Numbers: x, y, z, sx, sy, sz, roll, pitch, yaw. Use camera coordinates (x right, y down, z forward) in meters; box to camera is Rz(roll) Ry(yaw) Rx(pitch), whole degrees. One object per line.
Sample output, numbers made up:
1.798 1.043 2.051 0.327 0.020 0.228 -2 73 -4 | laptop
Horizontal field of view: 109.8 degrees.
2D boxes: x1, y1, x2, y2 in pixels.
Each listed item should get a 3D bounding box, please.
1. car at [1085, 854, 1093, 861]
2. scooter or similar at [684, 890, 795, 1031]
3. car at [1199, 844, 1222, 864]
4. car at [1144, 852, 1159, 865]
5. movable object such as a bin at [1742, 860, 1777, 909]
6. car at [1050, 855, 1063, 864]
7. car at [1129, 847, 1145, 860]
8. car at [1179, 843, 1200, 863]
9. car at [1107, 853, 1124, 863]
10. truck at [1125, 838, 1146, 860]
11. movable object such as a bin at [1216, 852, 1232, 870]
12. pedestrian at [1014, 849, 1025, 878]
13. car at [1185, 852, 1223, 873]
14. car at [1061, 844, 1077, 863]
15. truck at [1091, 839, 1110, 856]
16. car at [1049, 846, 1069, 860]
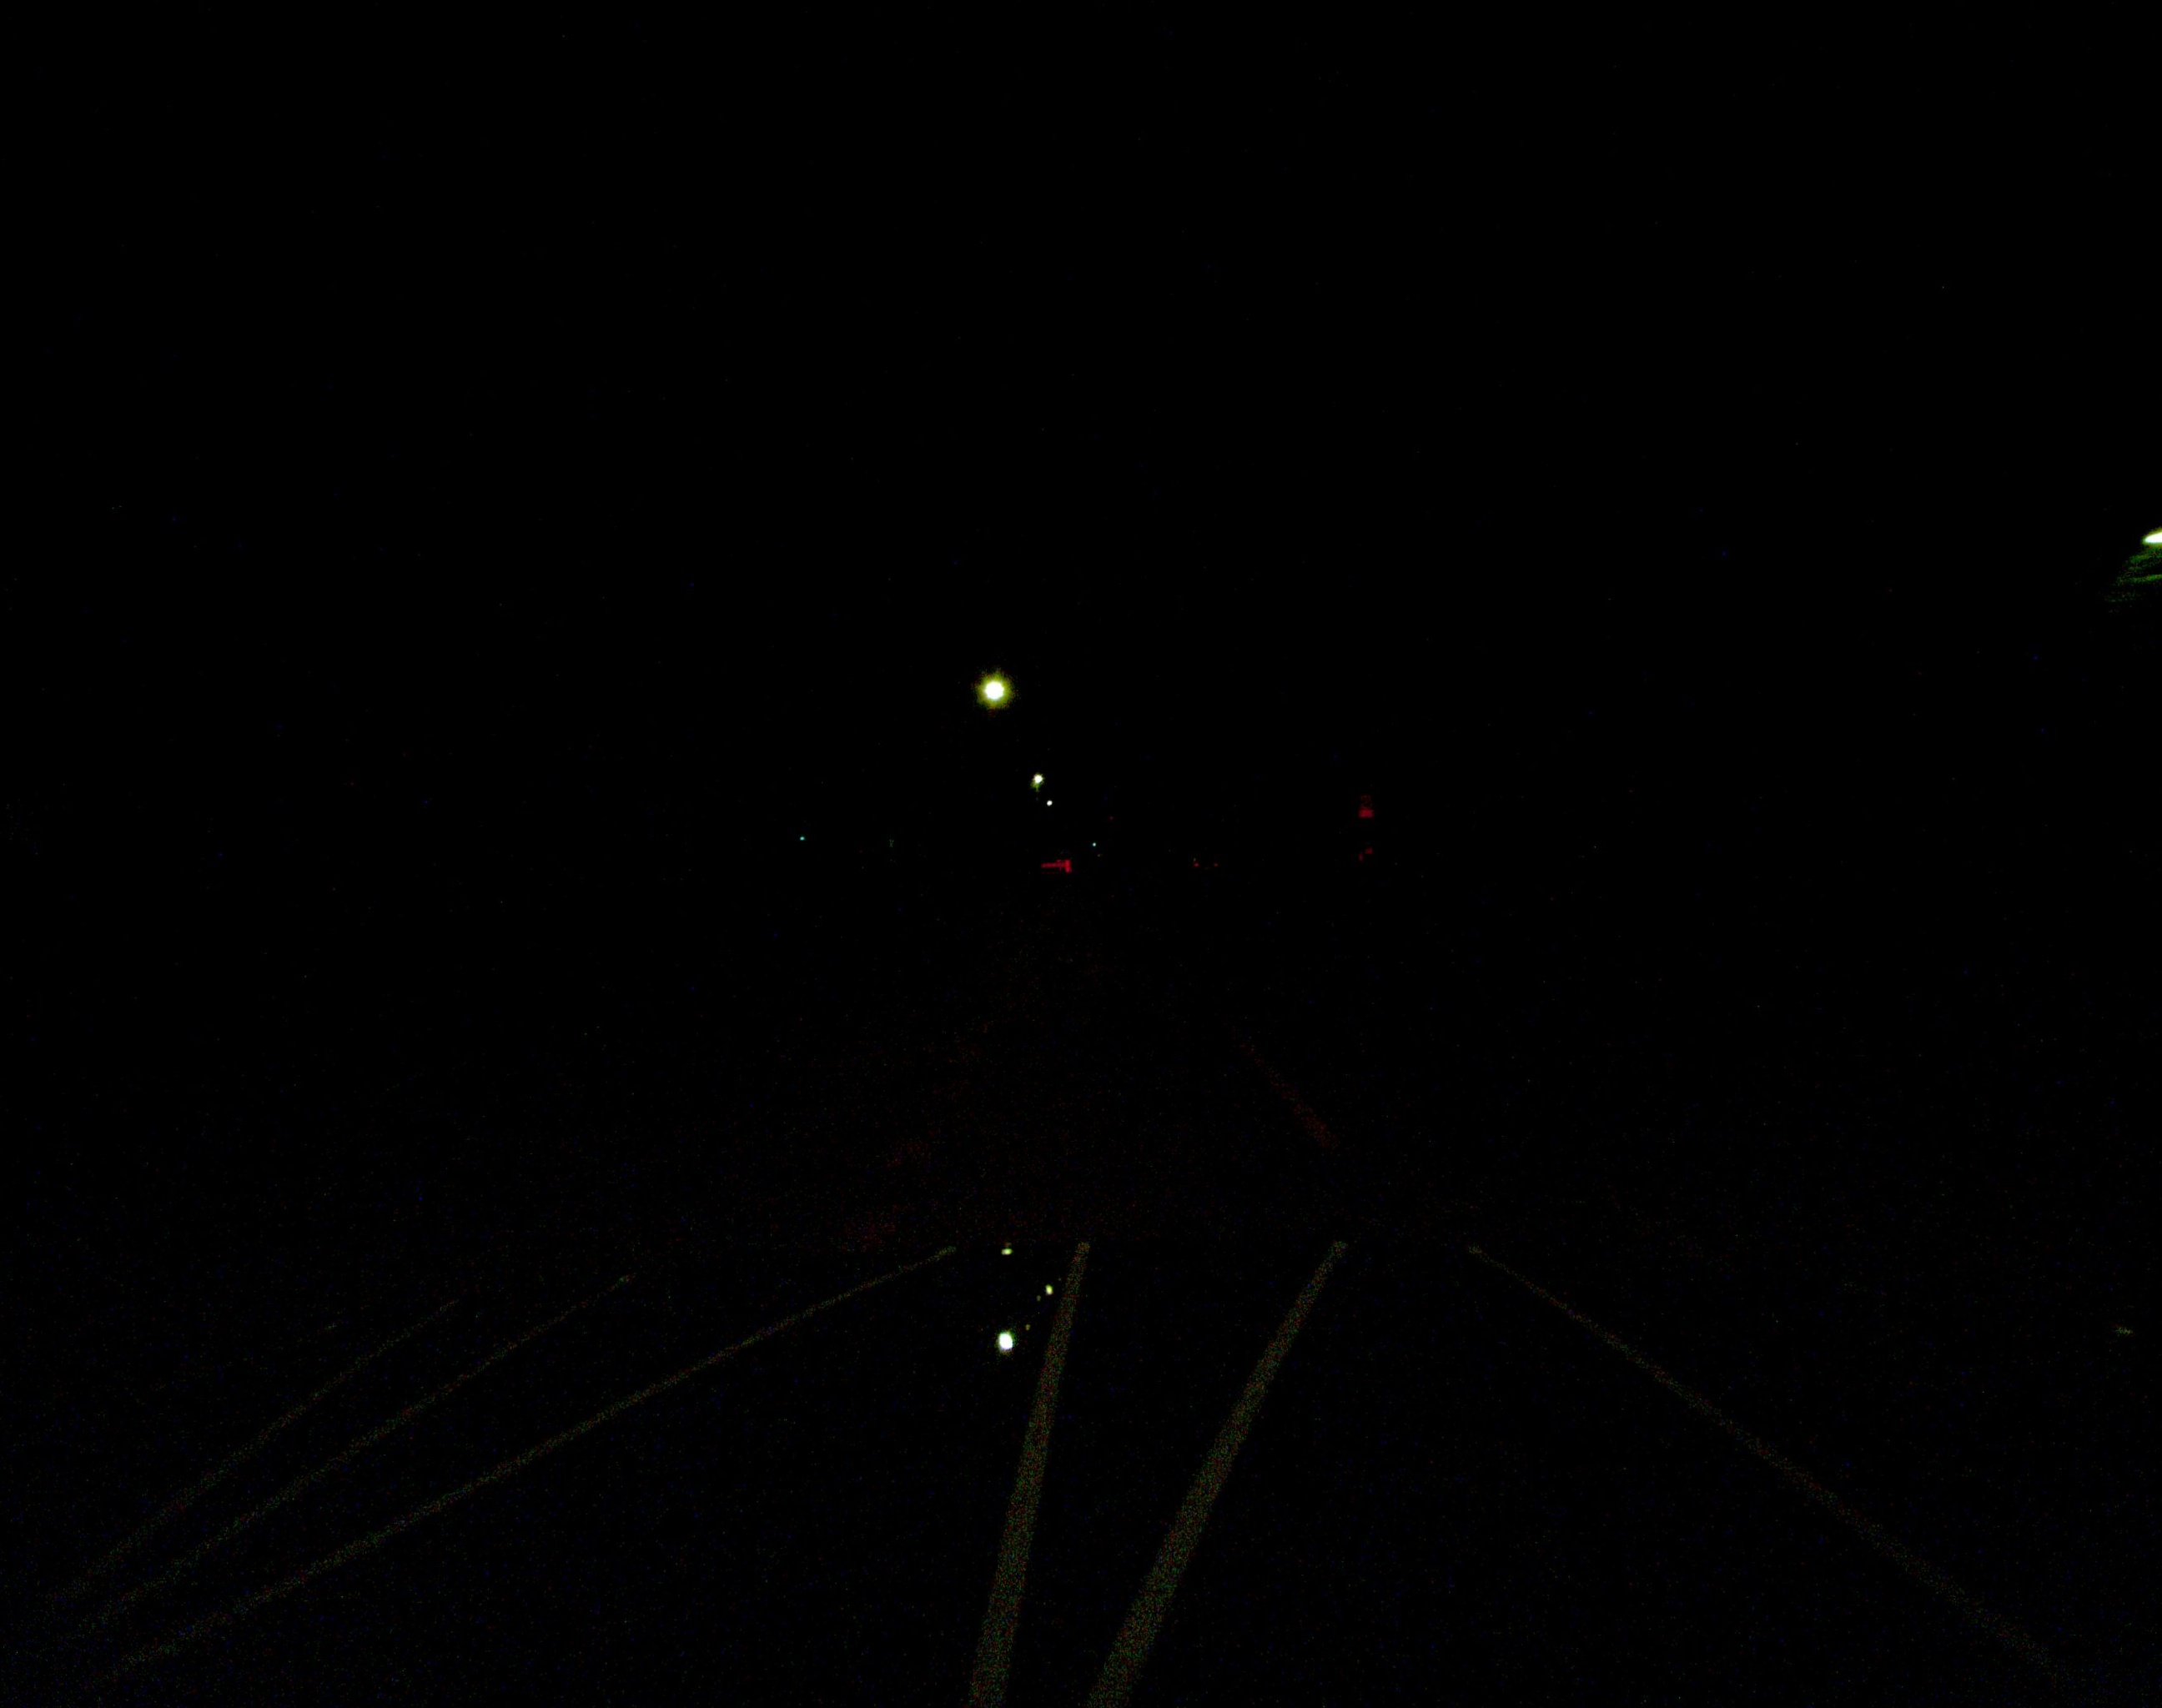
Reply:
2.023 0.898 188.653 1.862 1.630 3.999 0 0 -3 | car
-3.483 1.039 7.850 0.495 1.254 1.320 1 1 2 | scooter or similar
15.584 0.012 91.579 2.212 2.308 4.625 0 0 4 | car
8.492 0.502 92.071 1.759 1.517 4.323 -1 0 4 | car
18.440 0.826 20.655 0.622 1.299 0.567 1 1 -38 | movable object such as a bin
-4.412 0.939 135.961 1.716 1.499 3.996 -2 1 -11 | car
8.144 -0.036 110.621 1.834 1.806 4.837 0 0 -1 | car
12.853 -0.167 90.163 1.998 2.308 4.968 1 0 4 | car
5.984 0.657 133.498 2.000 1.761 4.688 -1 0 -10 | car
8.396 -0.694 117.477 2.550 3.261 7.310 -1 0 -1 | truck
12.271 0.602 65.215 1.167 1.487 1.065 -1 1 -3 | movable object such as a bin
-3.930 0.598 48.691 0.572 1.842 0.820 -1 1 1 | pedestrian
8.429 0.559 52.391 1.916 1.395 4.338 0 0 1 | car
-1.701 -0.069 109.450 2.026 2.512 6.050 -2 0 0 | car
3.766 -1.331 151.420 2.381 3.224 7.225 -1 0 -10 | truck
-5.283 -0.210 180.982 2.392 3.224 7.217 -1 0 -24 | car
